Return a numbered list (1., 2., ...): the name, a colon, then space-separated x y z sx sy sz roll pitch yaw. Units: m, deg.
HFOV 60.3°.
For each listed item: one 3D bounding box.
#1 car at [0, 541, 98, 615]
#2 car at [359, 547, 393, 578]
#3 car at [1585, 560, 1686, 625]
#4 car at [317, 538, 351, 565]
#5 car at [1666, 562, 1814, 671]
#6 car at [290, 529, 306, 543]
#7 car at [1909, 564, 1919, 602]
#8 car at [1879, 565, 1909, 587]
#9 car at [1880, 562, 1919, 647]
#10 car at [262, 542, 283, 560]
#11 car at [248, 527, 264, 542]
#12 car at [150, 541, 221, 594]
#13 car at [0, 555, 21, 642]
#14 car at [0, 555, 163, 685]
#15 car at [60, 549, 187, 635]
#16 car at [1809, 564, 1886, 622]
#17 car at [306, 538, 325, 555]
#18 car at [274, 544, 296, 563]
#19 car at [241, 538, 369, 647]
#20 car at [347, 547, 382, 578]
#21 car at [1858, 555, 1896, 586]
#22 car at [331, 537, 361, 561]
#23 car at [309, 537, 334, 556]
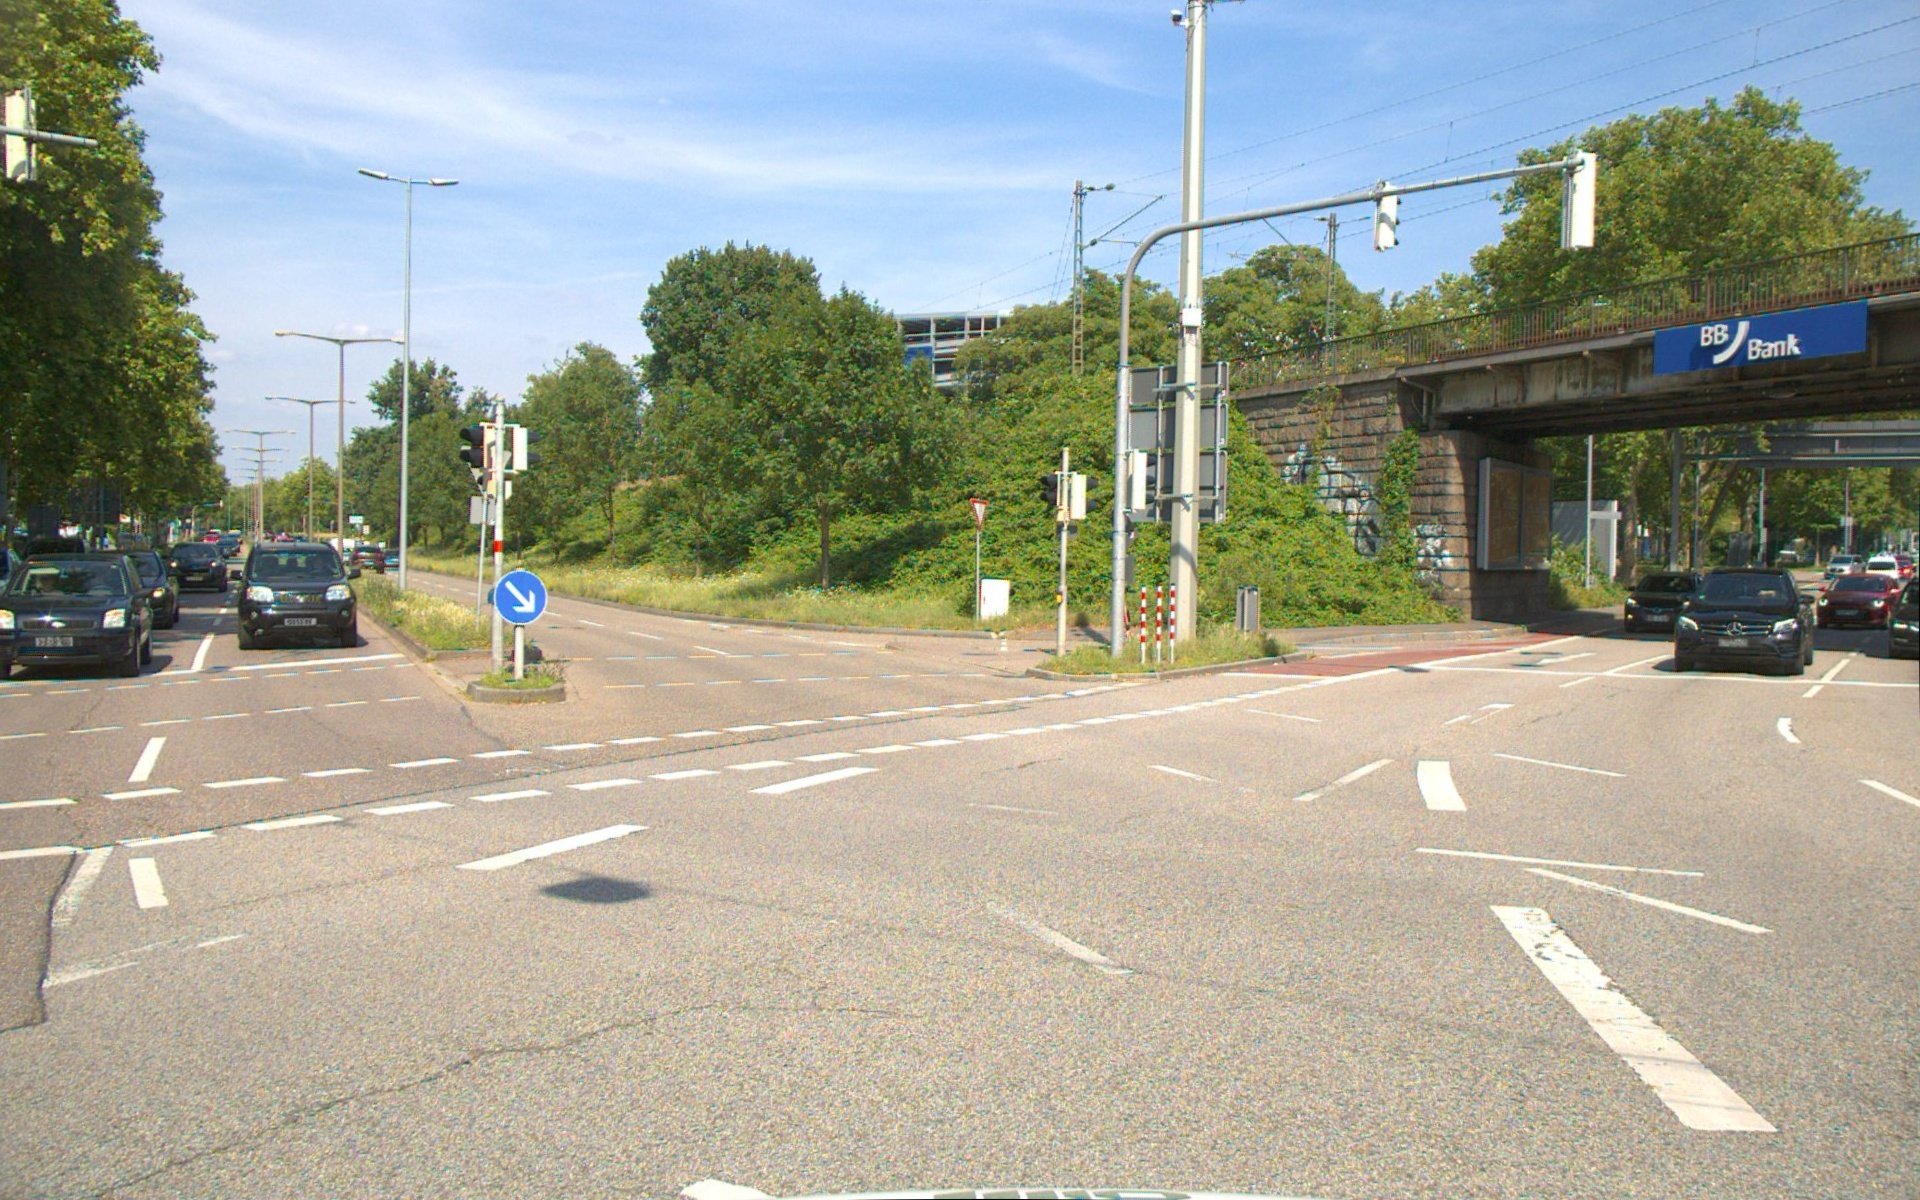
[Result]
1. car: -24.752 -0.657 44.942 1.967 1.866 4.618 -1 2 -23
2. car: -40.045 -2.606 113.351 1.991 1.869 3.974 1 4 -23
3. car: 17.146 -0.230 41.872 1.788 1.532 4.208 2 2 30
4. car: -42.198 -3.273 111.410 1.967 1.713 3.971 0 2 -24
5. car: 12.887 0.191 27.181 1.956 1.623 4.439 1 1 29
6. car: -95.527 -9.225 238.652 1.887 1.877 3.970 0 2 -25
7. car: 38.927 -0.674 65.854 1.658 1.467 3.987 2 2 35
8. car: 67.103 -1.758 118.807 1.659 1.447 3.991 4 4 32
9. car: 18.026 0.061 30.387 1.658 1.467 3.988 2 2 33
10. car: -73.281 -5.234 176.328 1.887 1.877 3.970 0 2 -25
11. car: -97.332 -9.046 228.576 1.966 1.892 3.974 0 2 -22
12. car: -25.396 -1.102 54.354 1.967 1.638 4.464 -1 2 -23
13. car: -17.327 0.009 27.984 1.865 1.474 4.970 -1 2 -23
14. car: -11.577 0.195 21.830 1.738 1.501 3.929 0 2 -24
15. car: -16.166 -0.214 32.143 1.811 1.487 4.486 -2 2 -23
16. car: 24.074 -0.231 44.808 1.671 1.444 3.992 2 2 30
17. car: -75.022 -6.212 192.498 1.887 1.877 3.970 0 2 -25
18. car: -59.312 -4.078 145.276 1.605 1.509 4.019 2 1 -24
19. car: -10.992 -0.195 27.585 1.784 1.643 4.457 0 2 -24
20. car: -34.799 -2.223 96.615 1.713 1.562 3.974 1 4 -23
21. car: 53.526 -1.739 96.510 1.765 1.746 3.991 2 2 32
22. car: -46.283 -3.851 124.650 1.967 1.738 4.234 0 2 -23
23. car: -58.337 -4.890 151.032 1.967 1.657 4.058 0 2 -23
